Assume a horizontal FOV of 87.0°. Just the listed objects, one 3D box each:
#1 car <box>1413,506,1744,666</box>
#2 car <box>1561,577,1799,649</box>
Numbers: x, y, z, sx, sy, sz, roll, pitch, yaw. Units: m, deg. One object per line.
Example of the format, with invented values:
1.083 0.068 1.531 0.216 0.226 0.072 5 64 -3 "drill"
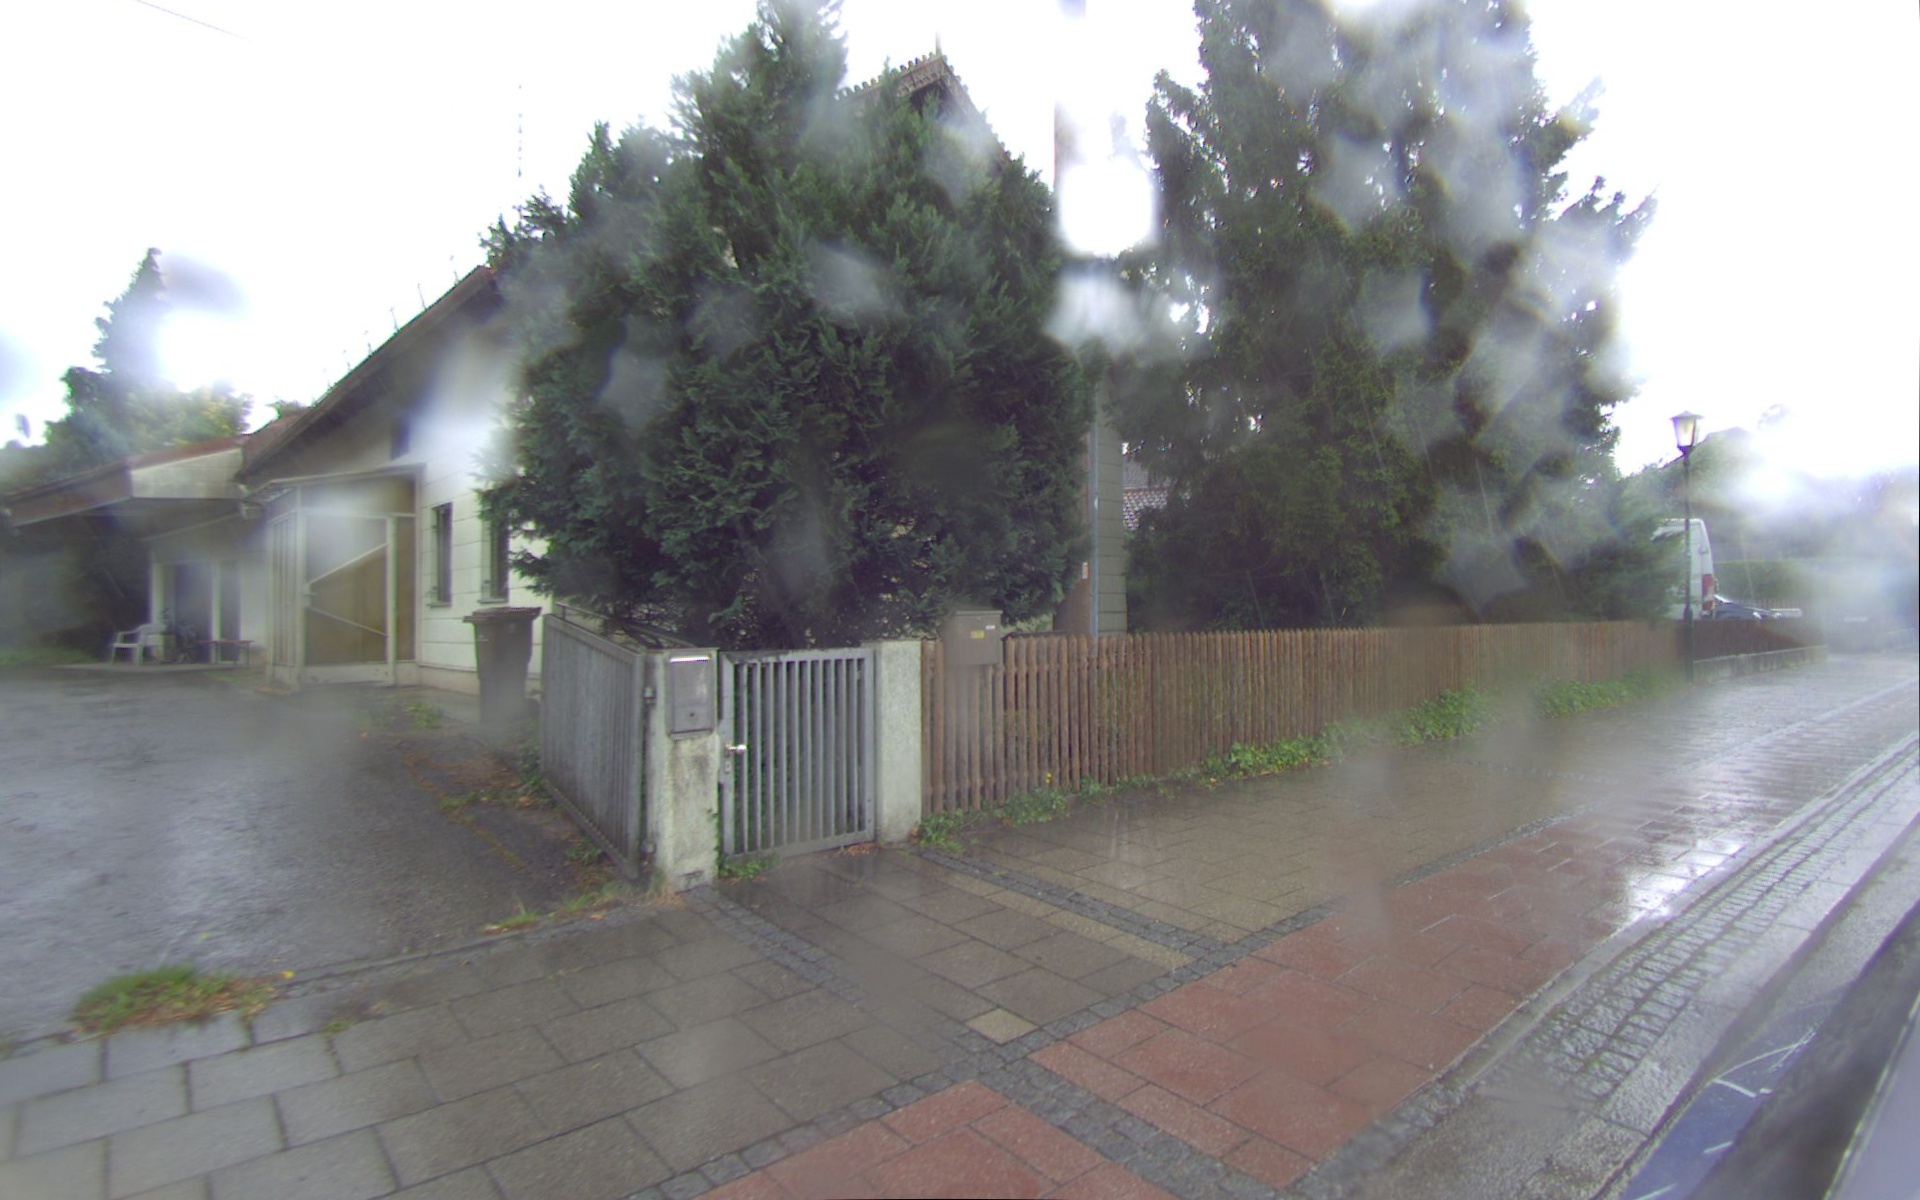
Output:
12.043 -0.352 19.978 5.299 2.761 1.971 3 2 41 "car"
17.102 0.234 24.163 4.428 1.438 1.802 3 3 43 "car"
